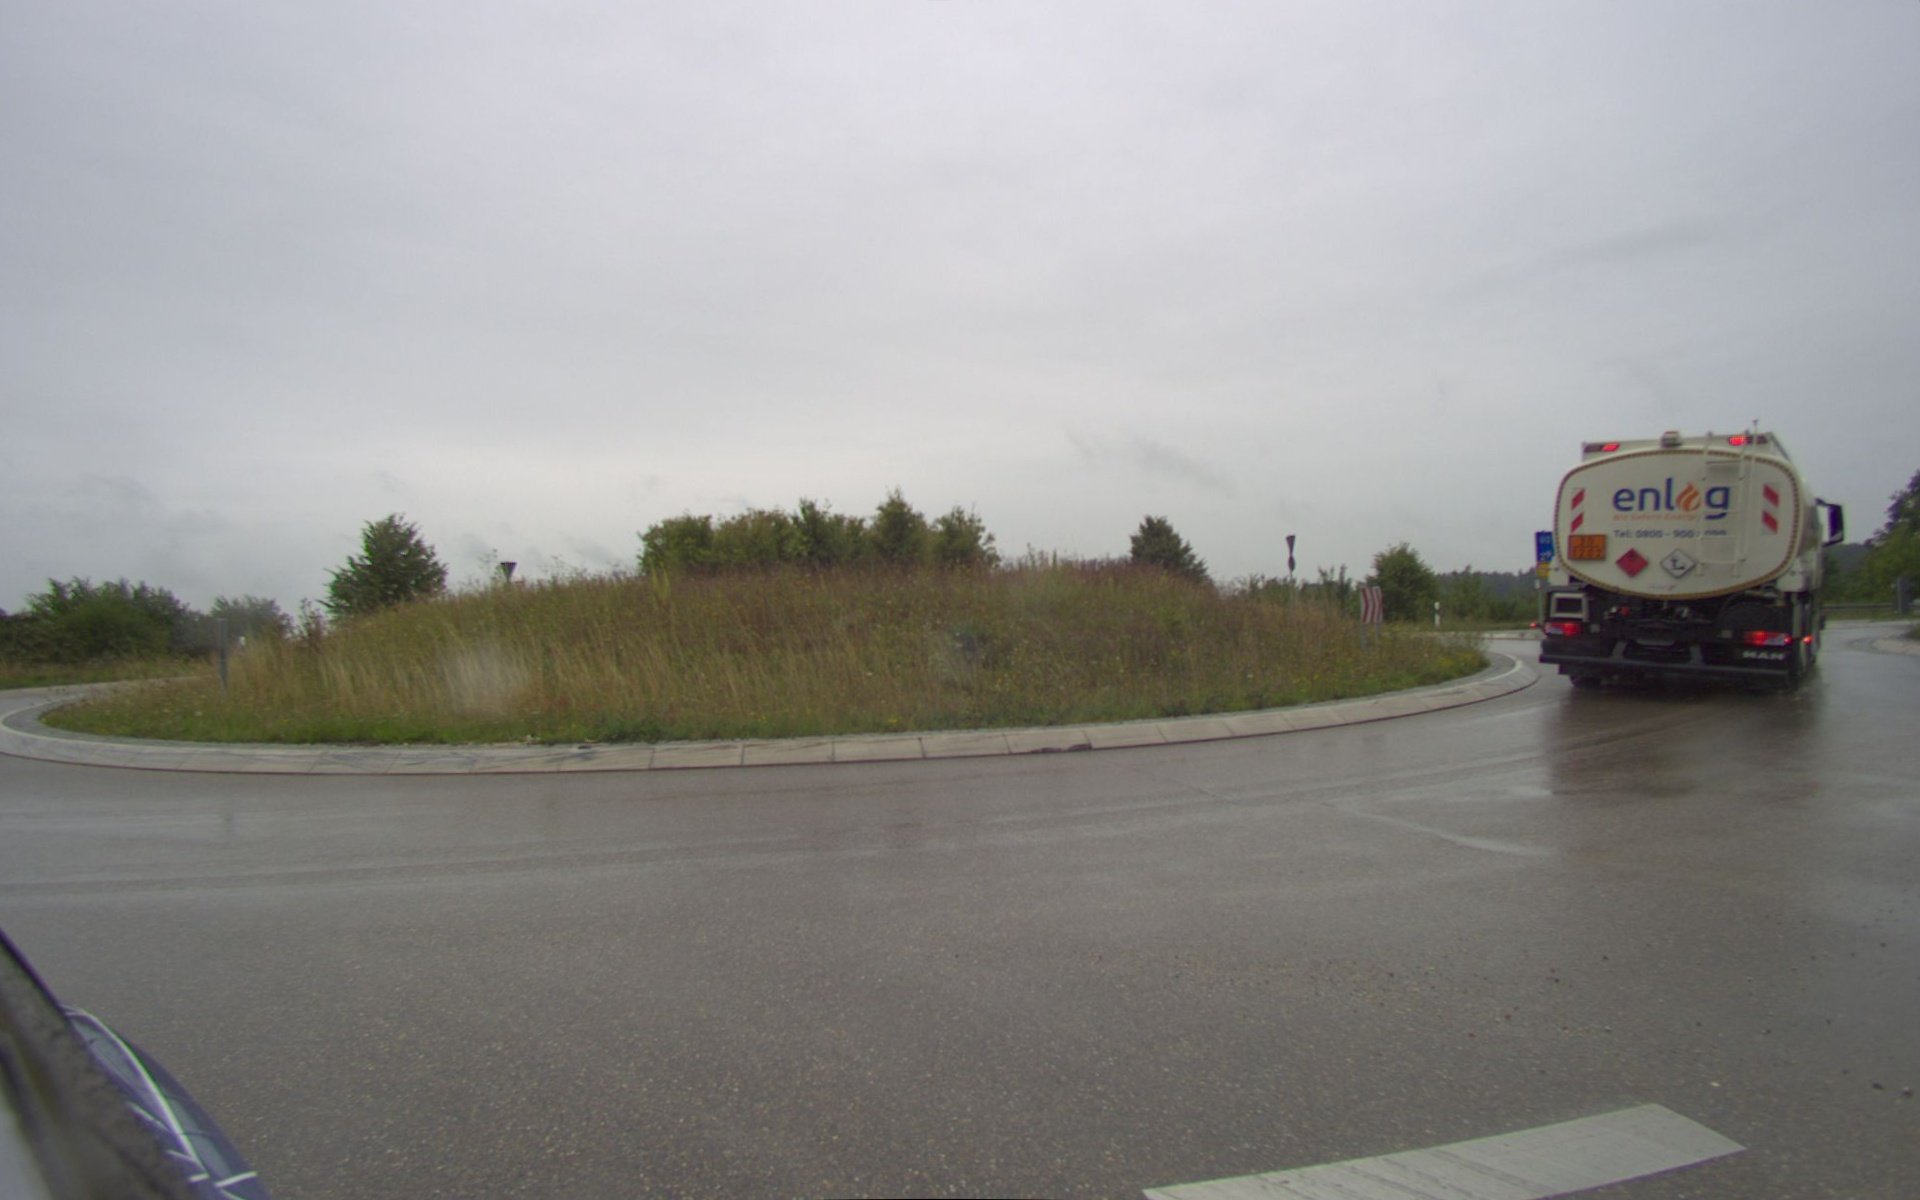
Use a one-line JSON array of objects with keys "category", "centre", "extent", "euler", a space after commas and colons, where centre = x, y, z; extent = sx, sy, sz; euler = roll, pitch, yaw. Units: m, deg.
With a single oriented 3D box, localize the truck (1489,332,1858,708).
[{"category": "truck", "centre": [10.721, -0.933, 14.661], "extent": [3.050, 3.880, 8.697], "euler": [-2, 0, 43]}]
